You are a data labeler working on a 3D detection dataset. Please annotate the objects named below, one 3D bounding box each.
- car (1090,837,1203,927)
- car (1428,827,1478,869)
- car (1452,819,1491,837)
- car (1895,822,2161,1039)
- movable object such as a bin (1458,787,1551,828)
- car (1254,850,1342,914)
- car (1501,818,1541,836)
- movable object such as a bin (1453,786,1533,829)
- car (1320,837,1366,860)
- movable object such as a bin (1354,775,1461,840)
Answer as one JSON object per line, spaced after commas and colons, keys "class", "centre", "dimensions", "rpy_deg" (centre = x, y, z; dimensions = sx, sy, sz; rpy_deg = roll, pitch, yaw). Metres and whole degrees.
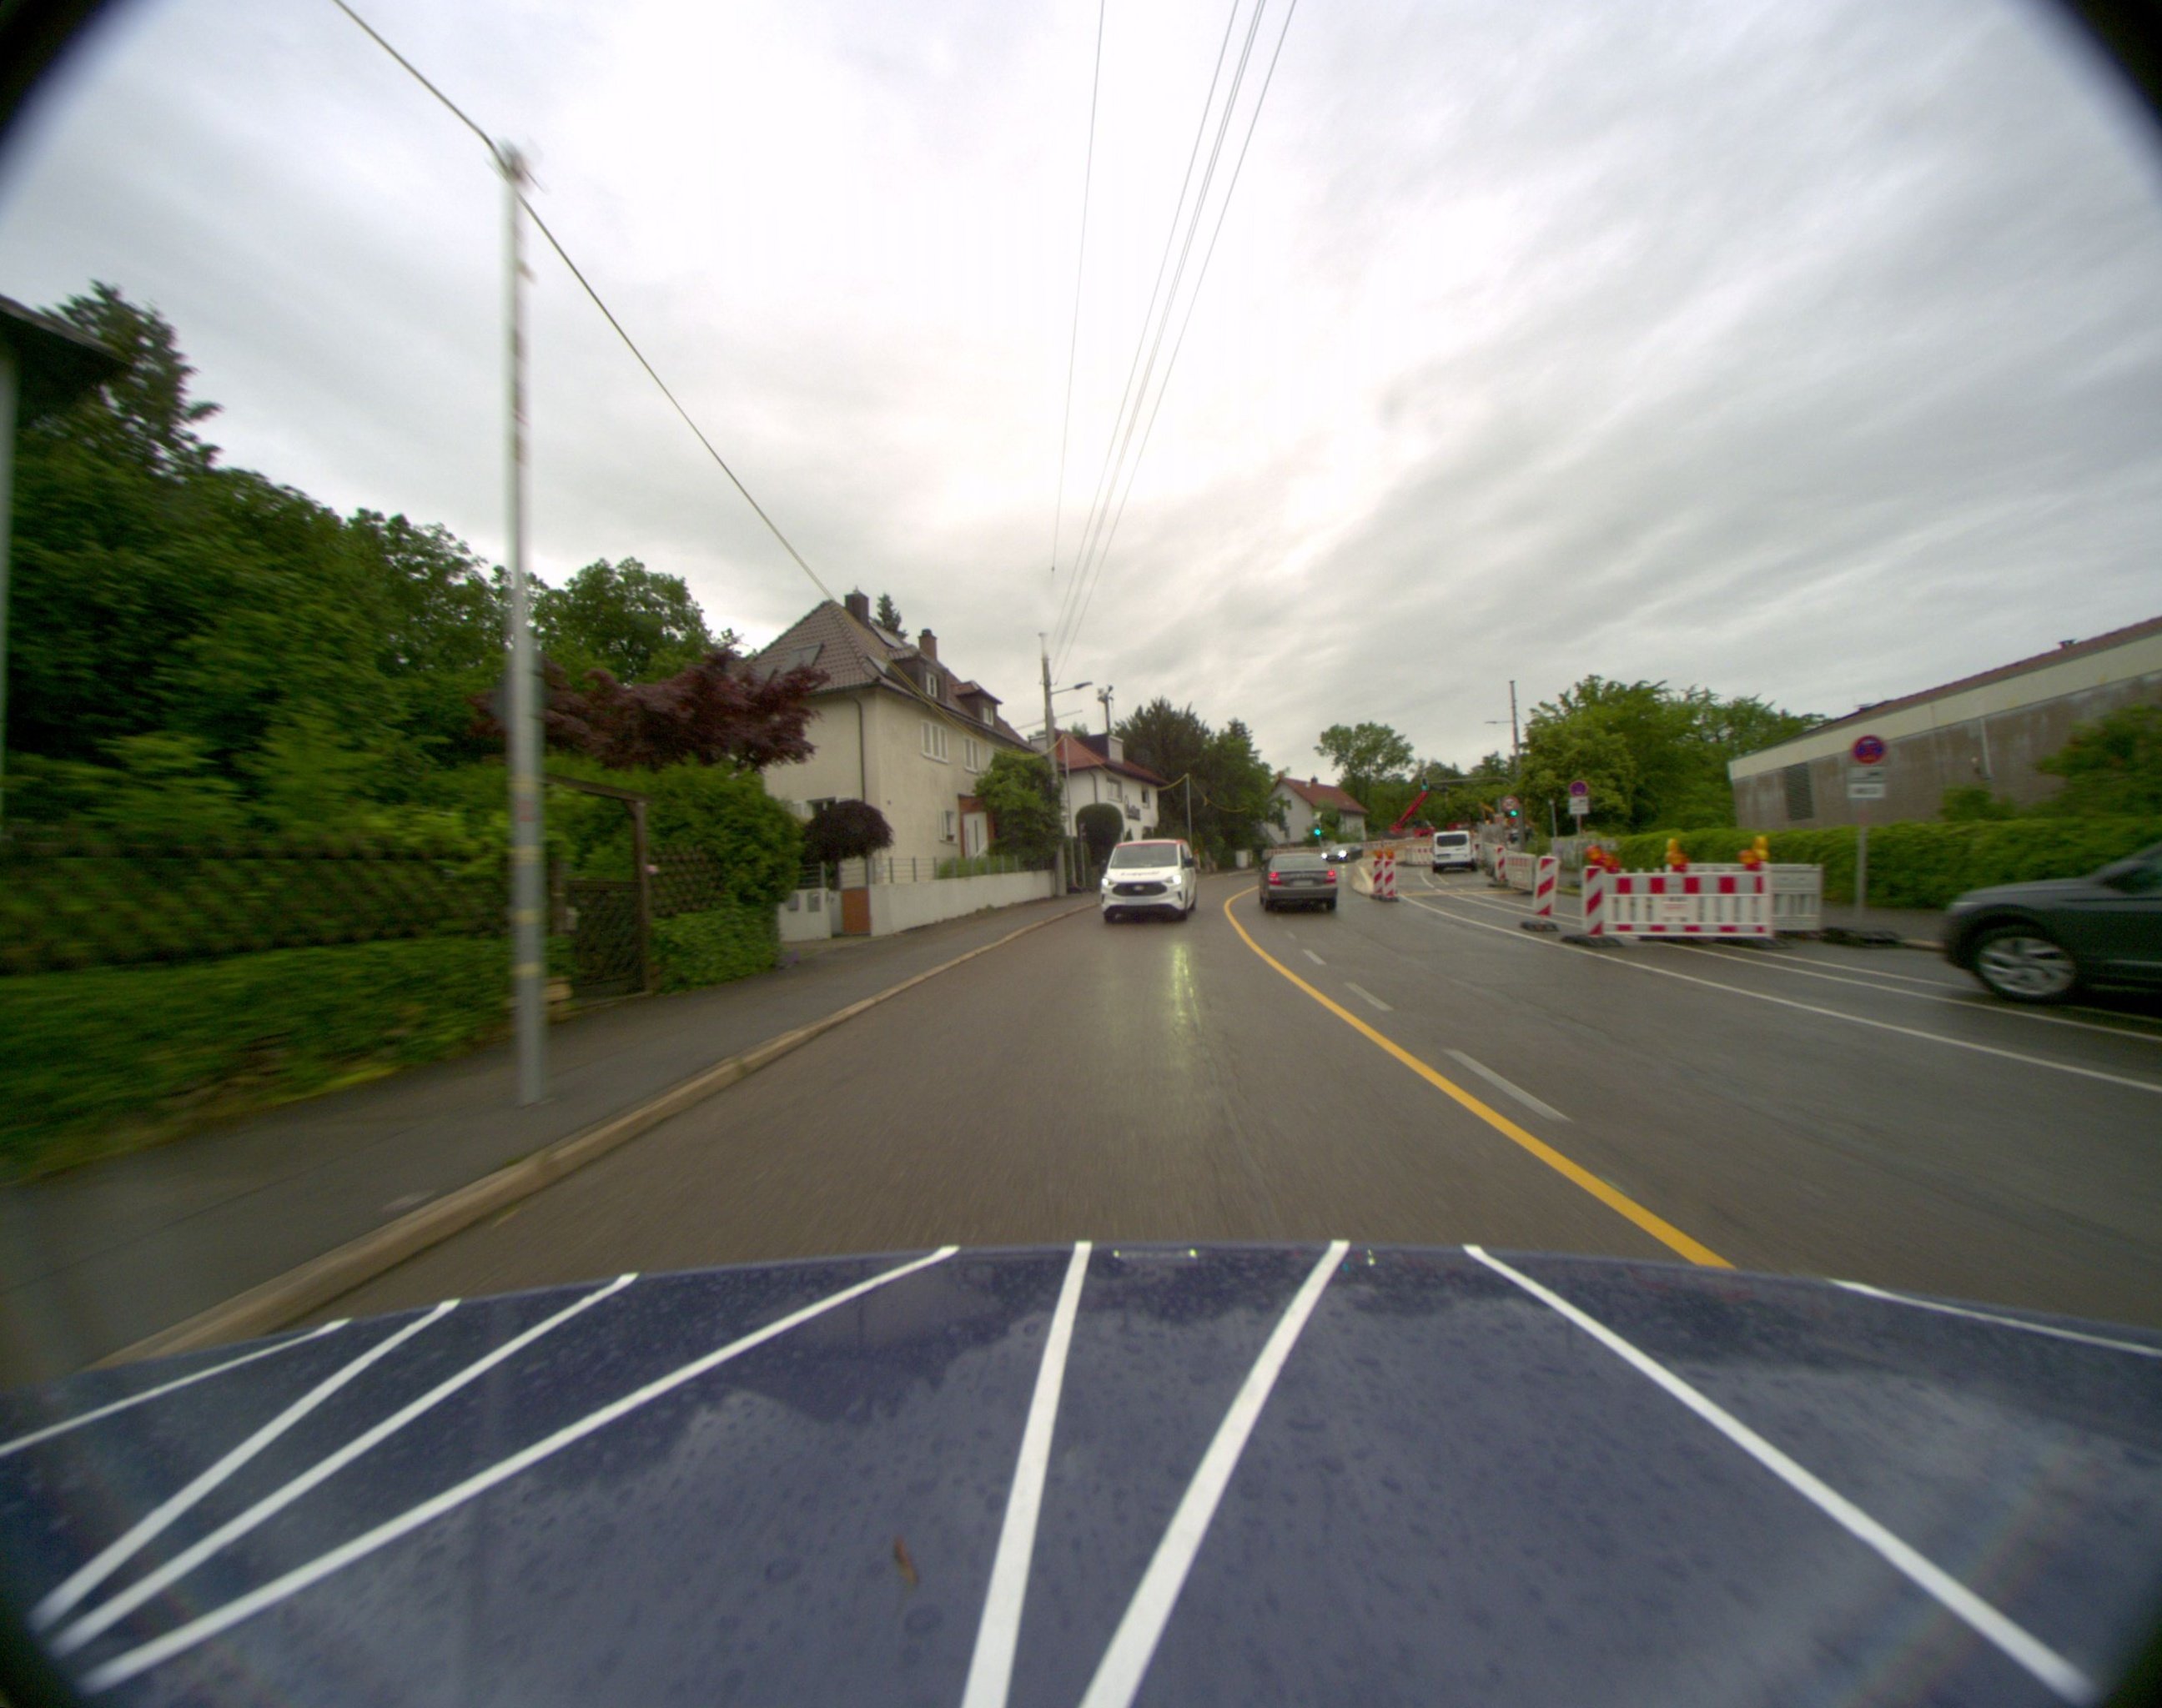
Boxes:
{"class": "car", "centre": [1.807, 0.596, 19.251], "dimensions": [2.039, 1.928, 4.519], "rpy_deg": [-3, 1, 14]}
{"class": "car", "centre": [17.320, -0.314, 35.250], "dimensions": [1.806, 1.790, 4.470], "rpy_deg": [-2, 0, 29]}
{"class": "car", "centre": [37.363, -2.486, 72.664], "dimensions": [4.523, 1.451, 1.985], "rpy_deg": [-5, 2, -44]}
{"class": "car", "centre": [8.972, 0.560, 5.330], "dimensions": [1.724, 1.598, 4.463], "rpy_deg": [-3, 0, 1]}
{"class": "movable object such as a bin", "centre": [59.824, -6.556, 107.219], "dimensions": [13.552, 5.168, 5.244], "rpy_deg": [-4, 2, -30]}
{"class": "car", "centre": [5.782, 0.673, 20.713], "dimensions": [1.793, 1.481, 4.675], "rpy_deg": [-3, 0, 10]}
{"class": "car", "centre": [40.384, -2.495, 69.737], "dimensions": [4.523, 1.451, 1.985], "rpy_deg": [-5, 2, -44]}
{"class": "movable object such as a bin", "centre": [52.754, -5.877, 97.500], "dimensions": [3.330, 5.025, 8.305], "rpy_deg": [-4, 2, -37]}
{"class": "car", "centre": [19.671, -0.418, 56.989], "dimensions": [1.985, 1.428, 4.522], "rpy_deg": [-2, 2, 36]}
{"class": "movable object such as a bin", "centre": [36.456, -5.091, 84.915], "dimensions": [9.031, 6.515, 7.050], "rpy_deg": [-1, 2, 42]}
